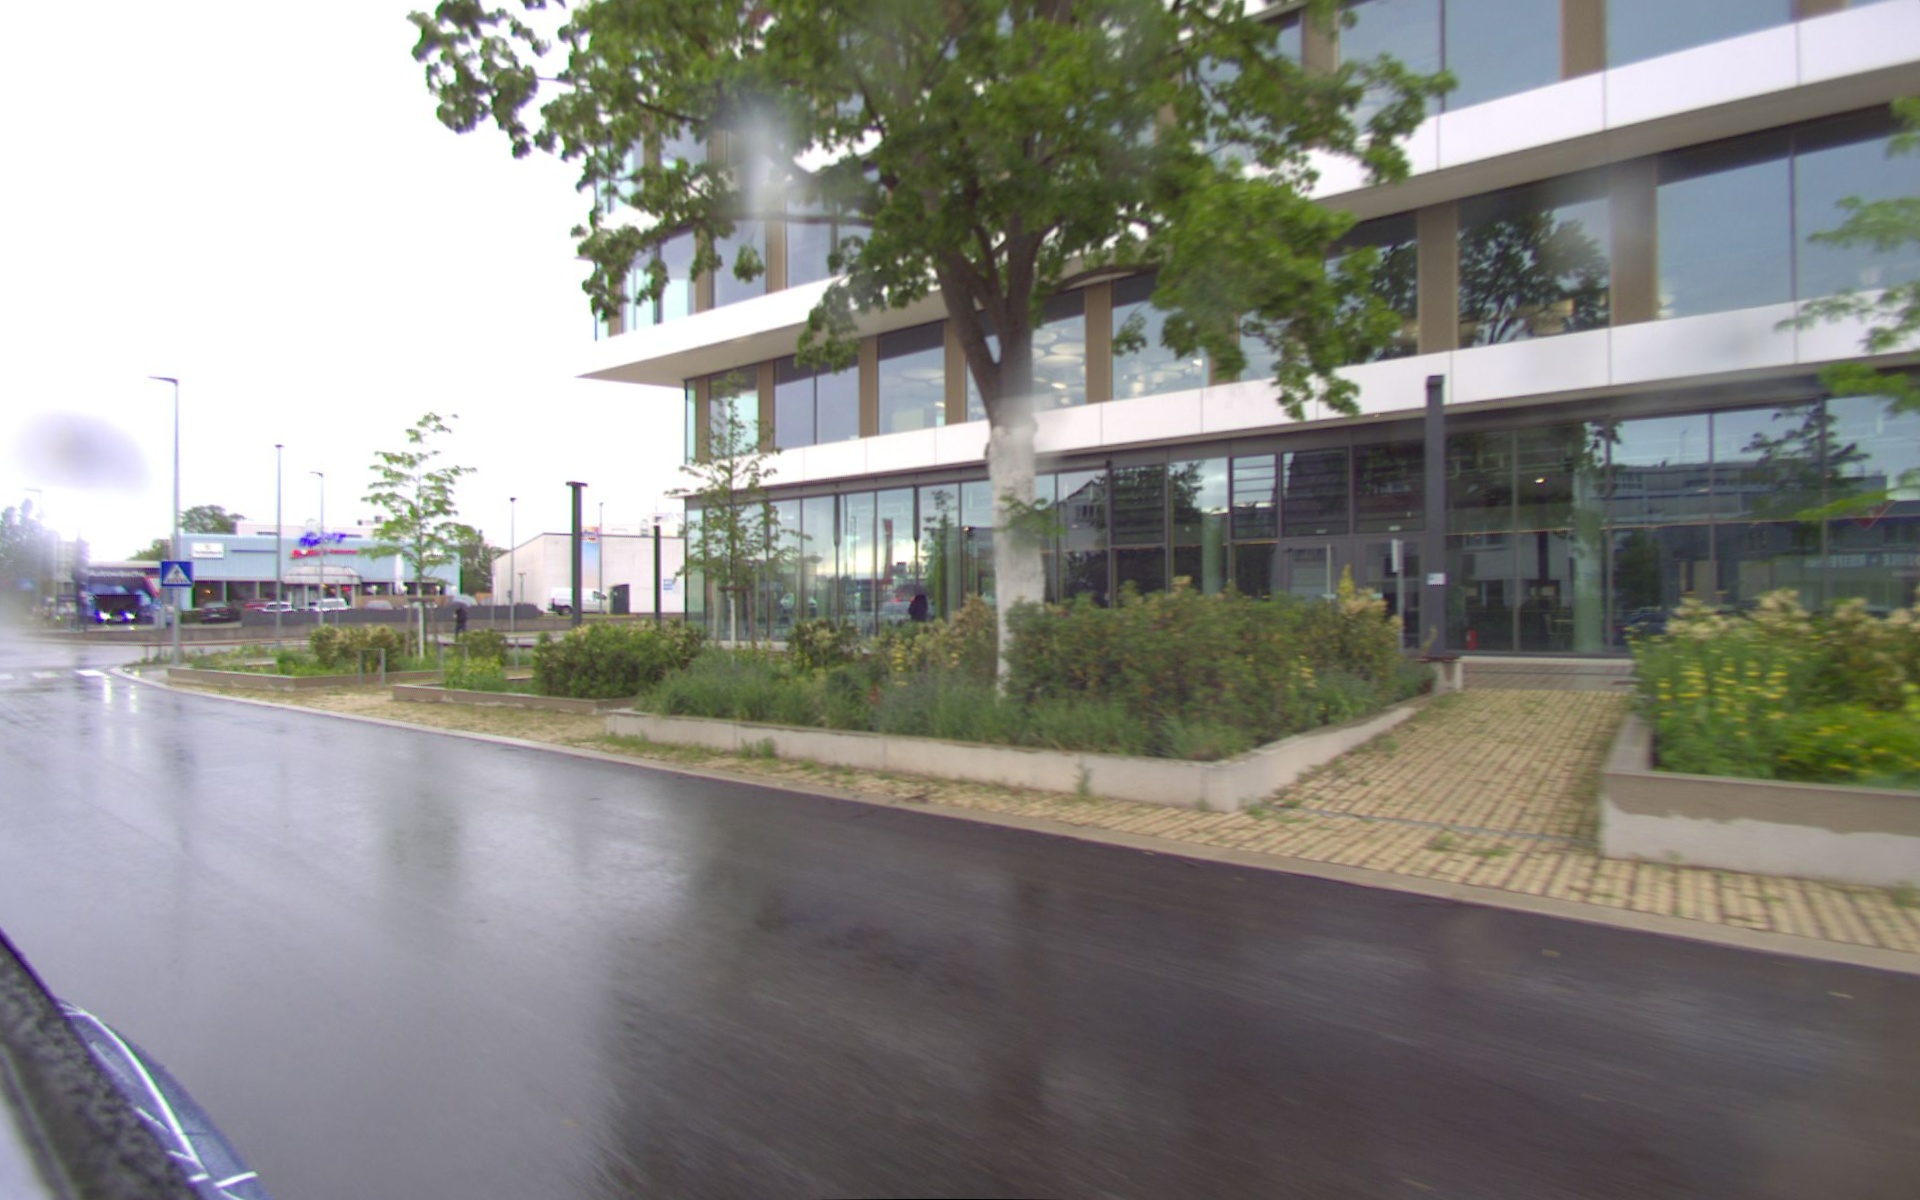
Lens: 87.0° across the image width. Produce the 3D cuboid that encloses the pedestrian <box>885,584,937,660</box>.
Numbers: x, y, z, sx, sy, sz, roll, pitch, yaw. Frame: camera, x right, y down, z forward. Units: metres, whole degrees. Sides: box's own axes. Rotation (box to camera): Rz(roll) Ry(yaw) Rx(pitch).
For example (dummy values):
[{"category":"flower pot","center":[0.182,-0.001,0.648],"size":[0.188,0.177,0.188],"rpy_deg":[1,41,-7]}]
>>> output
[{"category":"pedestrian","center":[-1.172,0.505,24.081],"size":[0.956,1.716,0.717],"rpy_deg":[0,4,41]}]

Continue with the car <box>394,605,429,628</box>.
[{"category":"car","center":[-34.948,1.045,64.487],"size":[1.856,1.305,4.013],"rpy_deg":[-4,1,-29]}]

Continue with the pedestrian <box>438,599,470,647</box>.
[{"category":"pedestrian","center":[-21.869,0.992,43.761],"size":[0.929,2.029,0.883],"rpy_deg":[-2,0,34]}]

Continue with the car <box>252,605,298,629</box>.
[{"category":"car","center":[-41.009,1.000,60.675],"size":[1.856,1.305,4.013],"rpy_deg":[-4,1,-29]}]

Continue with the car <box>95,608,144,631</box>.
[{"category":"car","center":[-62.633,1.456,75.515],"size":[1.888,1.541,4.013],"rpy_deg":[-3,0,-26]}]

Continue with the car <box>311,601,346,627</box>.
[{"category":"car","center":[-38.989,0.873,62.522],"size":[1.764,1.564,4.011],"rpy_deg":[-1,0,-32]}]

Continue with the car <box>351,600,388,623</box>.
[{"category":"car","center":[-36.950,0.719,63.416],"size":[1.856,1.305,4.013],"rpy_deg":[-4,1,-29]}]

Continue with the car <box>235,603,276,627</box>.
[{"category":"car","center":[-49.404,1.036,71.039],"size":[1.856,1.497,4.013],"rpy_deg":[-4,1,-29]}]

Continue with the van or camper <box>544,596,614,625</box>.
[{"category":"van or camper","center":[-26.825,0.711,71.180],"size":[4.307,1.774,1.894],"rpy_deg":[-4,1,-28]}]

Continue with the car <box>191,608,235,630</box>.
[{"category":"car","center":[-51.227,1.274,69.457],"size":[1.856,1.305,4.013],"rpy_deg":[-4,1,-29]}]

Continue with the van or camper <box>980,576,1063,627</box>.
[{"category":"van or camper","center":[4.031,0.069,65.984],"size":[5.016,3.111,2.006],"rpy_deg":[-3,0,-32]}]
